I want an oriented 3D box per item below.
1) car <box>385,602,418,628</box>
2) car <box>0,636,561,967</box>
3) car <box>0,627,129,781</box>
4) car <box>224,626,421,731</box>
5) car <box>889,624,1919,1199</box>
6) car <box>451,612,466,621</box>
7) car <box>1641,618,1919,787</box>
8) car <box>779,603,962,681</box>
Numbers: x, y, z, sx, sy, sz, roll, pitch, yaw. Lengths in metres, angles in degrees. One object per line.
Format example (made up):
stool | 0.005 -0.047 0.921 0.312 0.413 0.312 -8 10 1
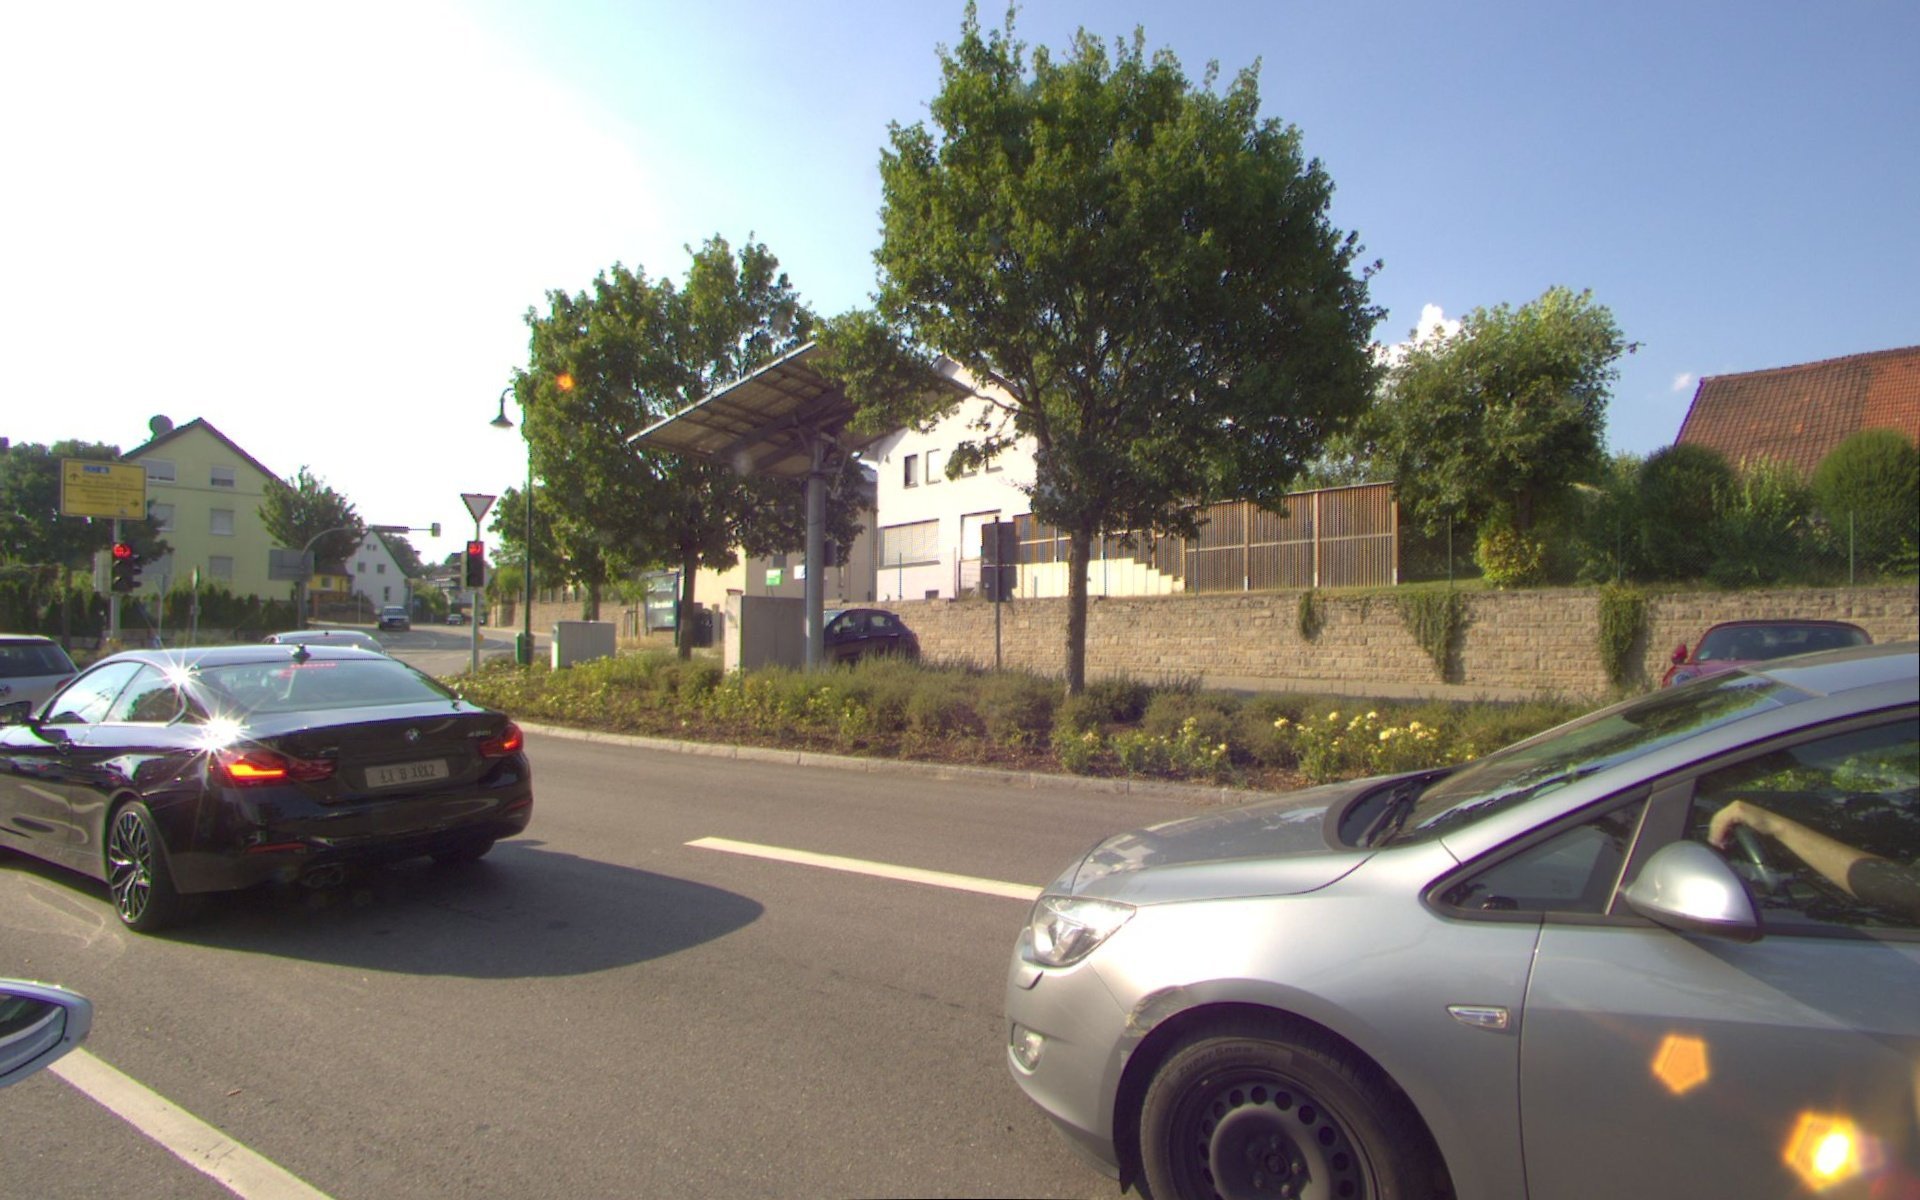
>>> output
car | -37.688 0.965 67.507 1.767 1.527 4.043 1 2 -32
car | -4.603 0.940 6.298 4.287 1.406 1.812 -1 -2 34
car | -10.877 1.024 10.807 4.287 1.465 1.812 -1 -2 34
car | -10.379 1.161 16.155 4.542 1.454 1.672 -1 -2 44
car | 2.006 0.791 2.270 4.107 1.460 1.741 -1 -2 32
car | -68.166 2.226 136.028 1.691 1.260 3.981 1 -1 -28
car | 8.119 0.855 9.717 1.835 1.288 3.964 -1 -2 45
car | -1.988 0.947 23.056 1.835 1.628 3.964 -1 -2 45
